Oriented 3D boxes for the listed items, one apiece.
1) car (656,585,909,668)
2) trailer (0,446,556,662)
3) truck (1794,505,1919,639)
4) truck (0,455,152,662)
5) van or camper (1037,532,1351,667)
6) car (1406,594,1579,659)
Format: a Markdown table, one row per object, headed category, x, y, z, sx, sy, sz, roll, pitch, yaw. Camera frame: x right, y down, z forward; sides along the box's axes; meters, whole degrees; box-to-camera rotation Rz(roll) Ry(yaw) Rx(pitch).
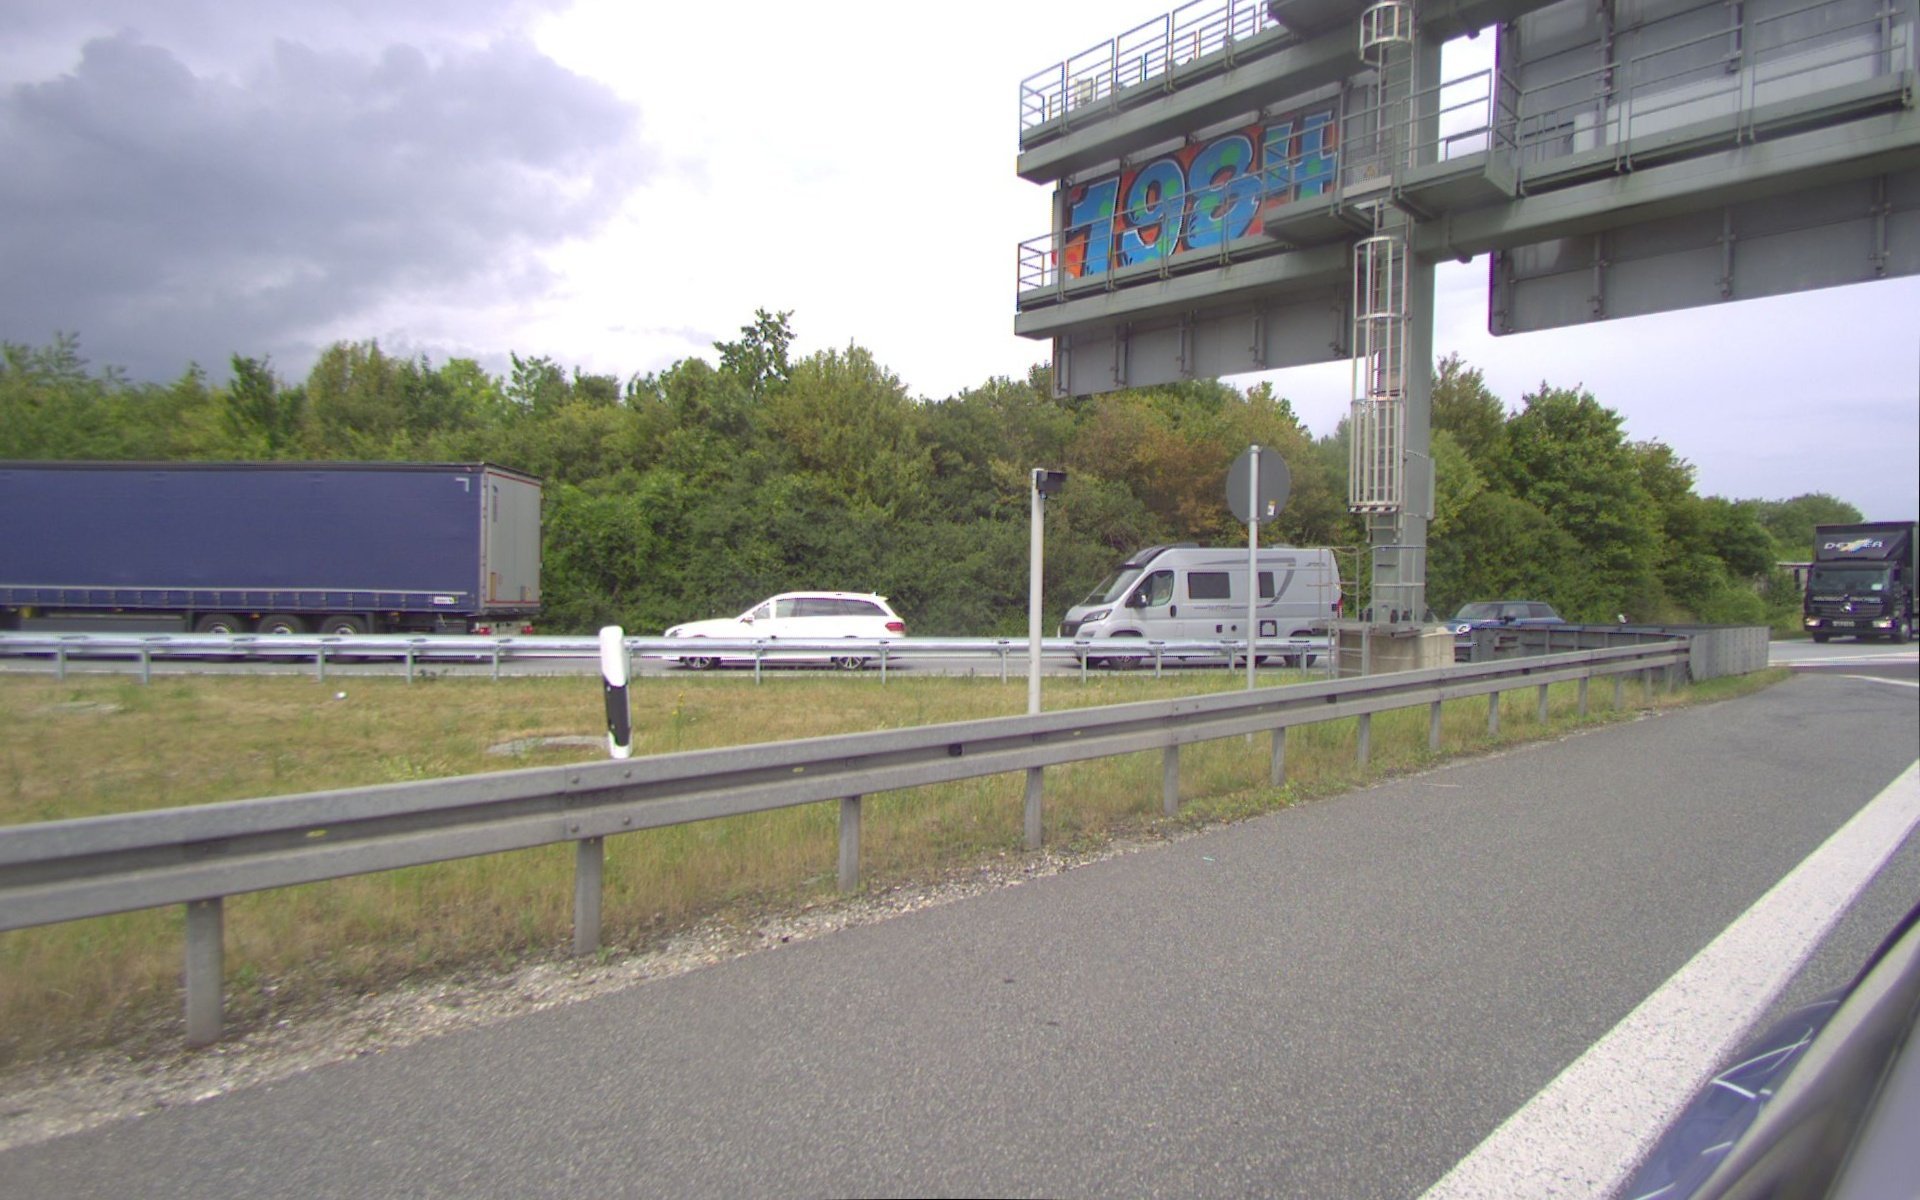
| category | x | y | z | sx | sy | sz | roll | pitch | yaw |
| --- | --- | --- | --- | --- | --- | --- | --- | --- | --- |
| car | -3.411 | 0.470 | 20.050 | 4.691 | 1.520 | 2.216 | 0 | 1 | -5 |
| trailer | -15.706 | -0.926 | 21.812 | 12.791 | 4.246 | 3.339 | 0 | 0 | 2 |
| truck | 31.926 | -0.896 | 34.419 | 10.145 | 4.004 | 3.026 | 0 | 0 | -36 |
| truck | -22.300 | -0.858 | 22.165 | 6.664 | 4.147 | 3.369 | 0 | 0 | 2 |
| van or camper | 4.867 | -0.028 | 21.357 | 6.031 | 2.600 | 2.306 | 0 | 1 | -14 |
| car | 12.759 | 0.582 | 24.256 | 3.589 | 1.437 | 1.738 | -1 | 0 | -21 |
